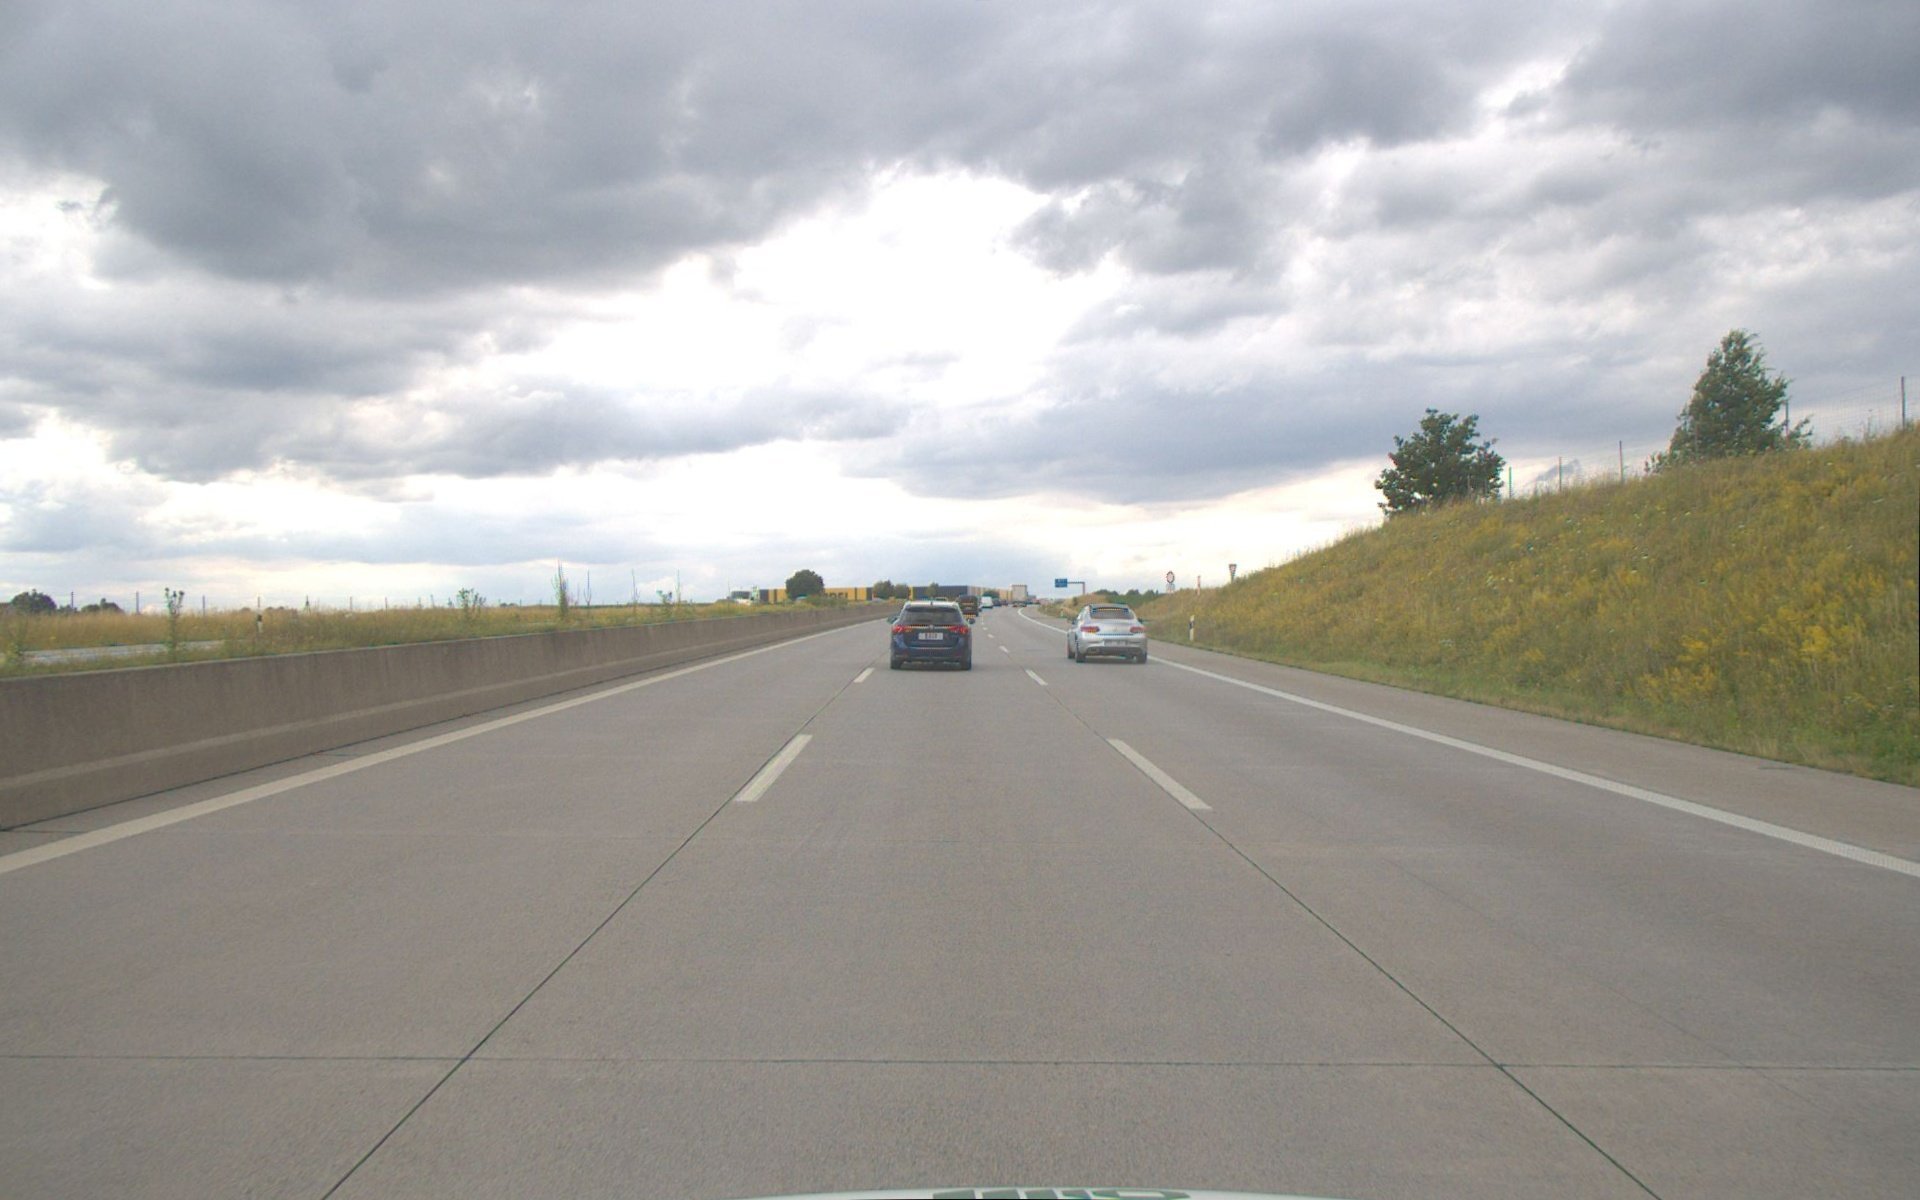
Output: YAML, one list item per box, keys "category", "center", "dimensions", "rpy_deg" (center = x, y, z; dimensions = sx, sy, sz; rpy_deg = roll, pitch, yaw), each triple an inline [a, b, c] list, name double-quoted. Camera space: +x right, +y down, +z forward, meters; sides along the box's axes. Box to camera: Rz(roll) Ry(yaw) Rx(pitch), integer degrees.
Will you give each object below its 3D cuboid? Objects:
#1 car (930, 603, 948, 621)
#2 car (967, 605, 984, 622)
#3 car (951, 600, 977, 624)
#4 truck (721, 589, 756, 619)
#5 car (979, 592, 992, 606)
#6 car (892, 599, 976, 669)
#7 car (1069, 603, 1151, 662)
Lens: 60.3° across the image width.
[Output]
- category: "car"
  center: [-2.406, 1.391, 189.517]
  dimensions: [2.005, 2.049, 3.999]
  rpy_deg: [1, -1, -1]
- category: "car"
  center: [1.893, 1.617, 199.431]
  dimensions: [1.952, 2.049, 4.001]
  rpy_deg: [2, 0, 2]
- category: "car"
  center: [0.344, 1.077, 145.850]
  dimensions: [1.954, 2.049, 3.997]
  rpy_deg: [1, -1, -3]
- category: "truck"
  center: [-19.666, 0.380, 147.396]
  dimensions: [2.100, 2.611, 7.447]
  rpy_deg: [1, -1, 0]
- category: "car"
  center: [3.857, -0.164, 246.952]
  dimensions: [1.952, 2.049, 4.000]
  rpy_deg: [1, -1, 1]
- category: "car"
  center: [-0.565, 0.725, 36.358]
  dimensions: [1.738, 1.438, 3.999]
  rpy_deg: [0, 0, -1]
- category: "car"
  center: [3.756, 0.797, 42.048]
  dimensions: [1.752, 1.428, 4.221]
  rpy_deg: [0, 0, 1]
